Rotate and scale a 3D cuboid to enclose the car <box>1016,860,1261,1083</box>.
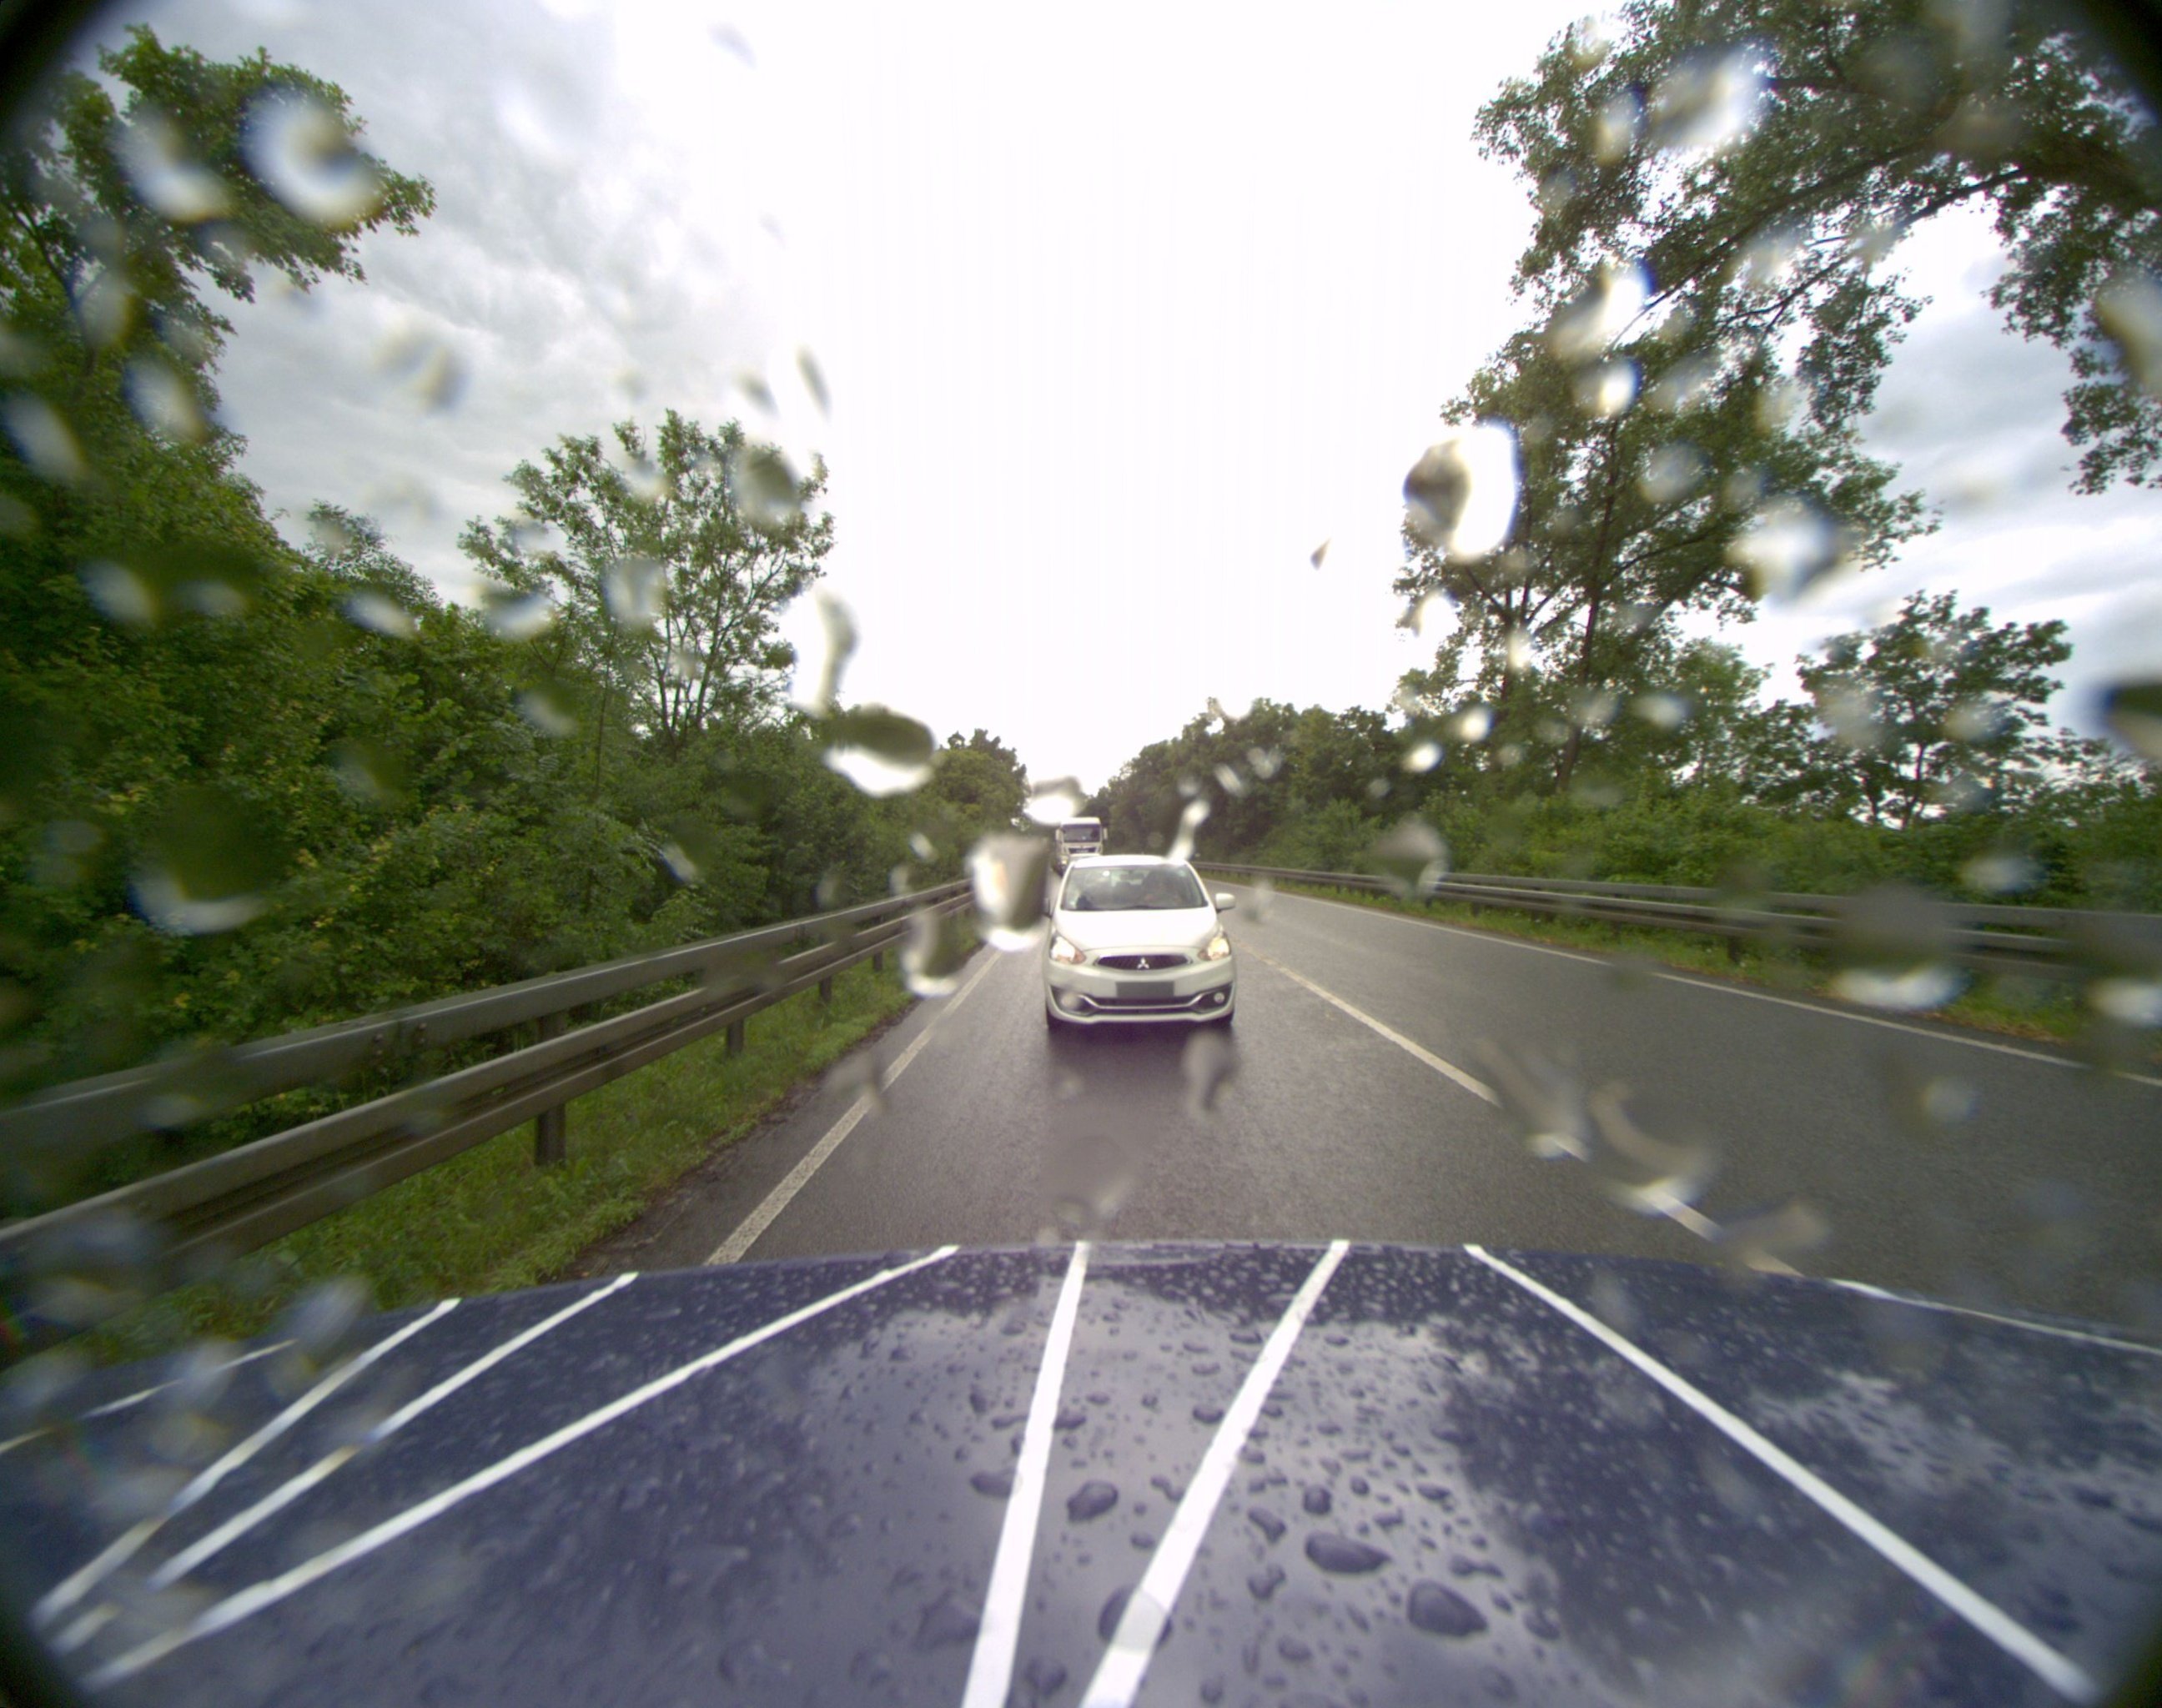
[{"bbox_3d":[0.451,0.853,7.426,1.700,1.471,4.063,-2,1,1],"label":"car"}]

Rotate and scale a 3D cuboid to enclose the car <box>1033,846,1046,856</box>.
[{"bbox_3d":[-8.554,-0.539,156.317,2.000,1.936,3.996,-2,1,-10],"label":"car"}]

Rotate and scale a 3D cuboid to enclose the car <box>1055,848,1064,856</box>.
[{"bbox_3d":[-3.648,-0.351,128.672,1.246,1.281,2.881,-2,1,-10],"label":"car"}]

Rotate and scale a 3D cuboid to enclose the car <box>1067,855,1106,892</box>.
[{"bbox_3d":[0.246,0.746,30.713,1.475,1.410,3.429,-1,0,1],"label":"car"}]

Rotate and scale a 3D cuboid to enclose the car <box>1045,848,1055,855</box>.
[{"bbox_3d":[-5.740,-0.466,141.365,1.377,1.281,3.250,-2,1,-10],"label":"car"}]

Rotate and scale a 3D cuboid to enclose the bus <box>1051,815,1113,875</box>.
[{"bbox_3d":[-0.203,-0.573,50.679,3.064,3.405,13.634,-2,1,-4],"label":"bus"}]
